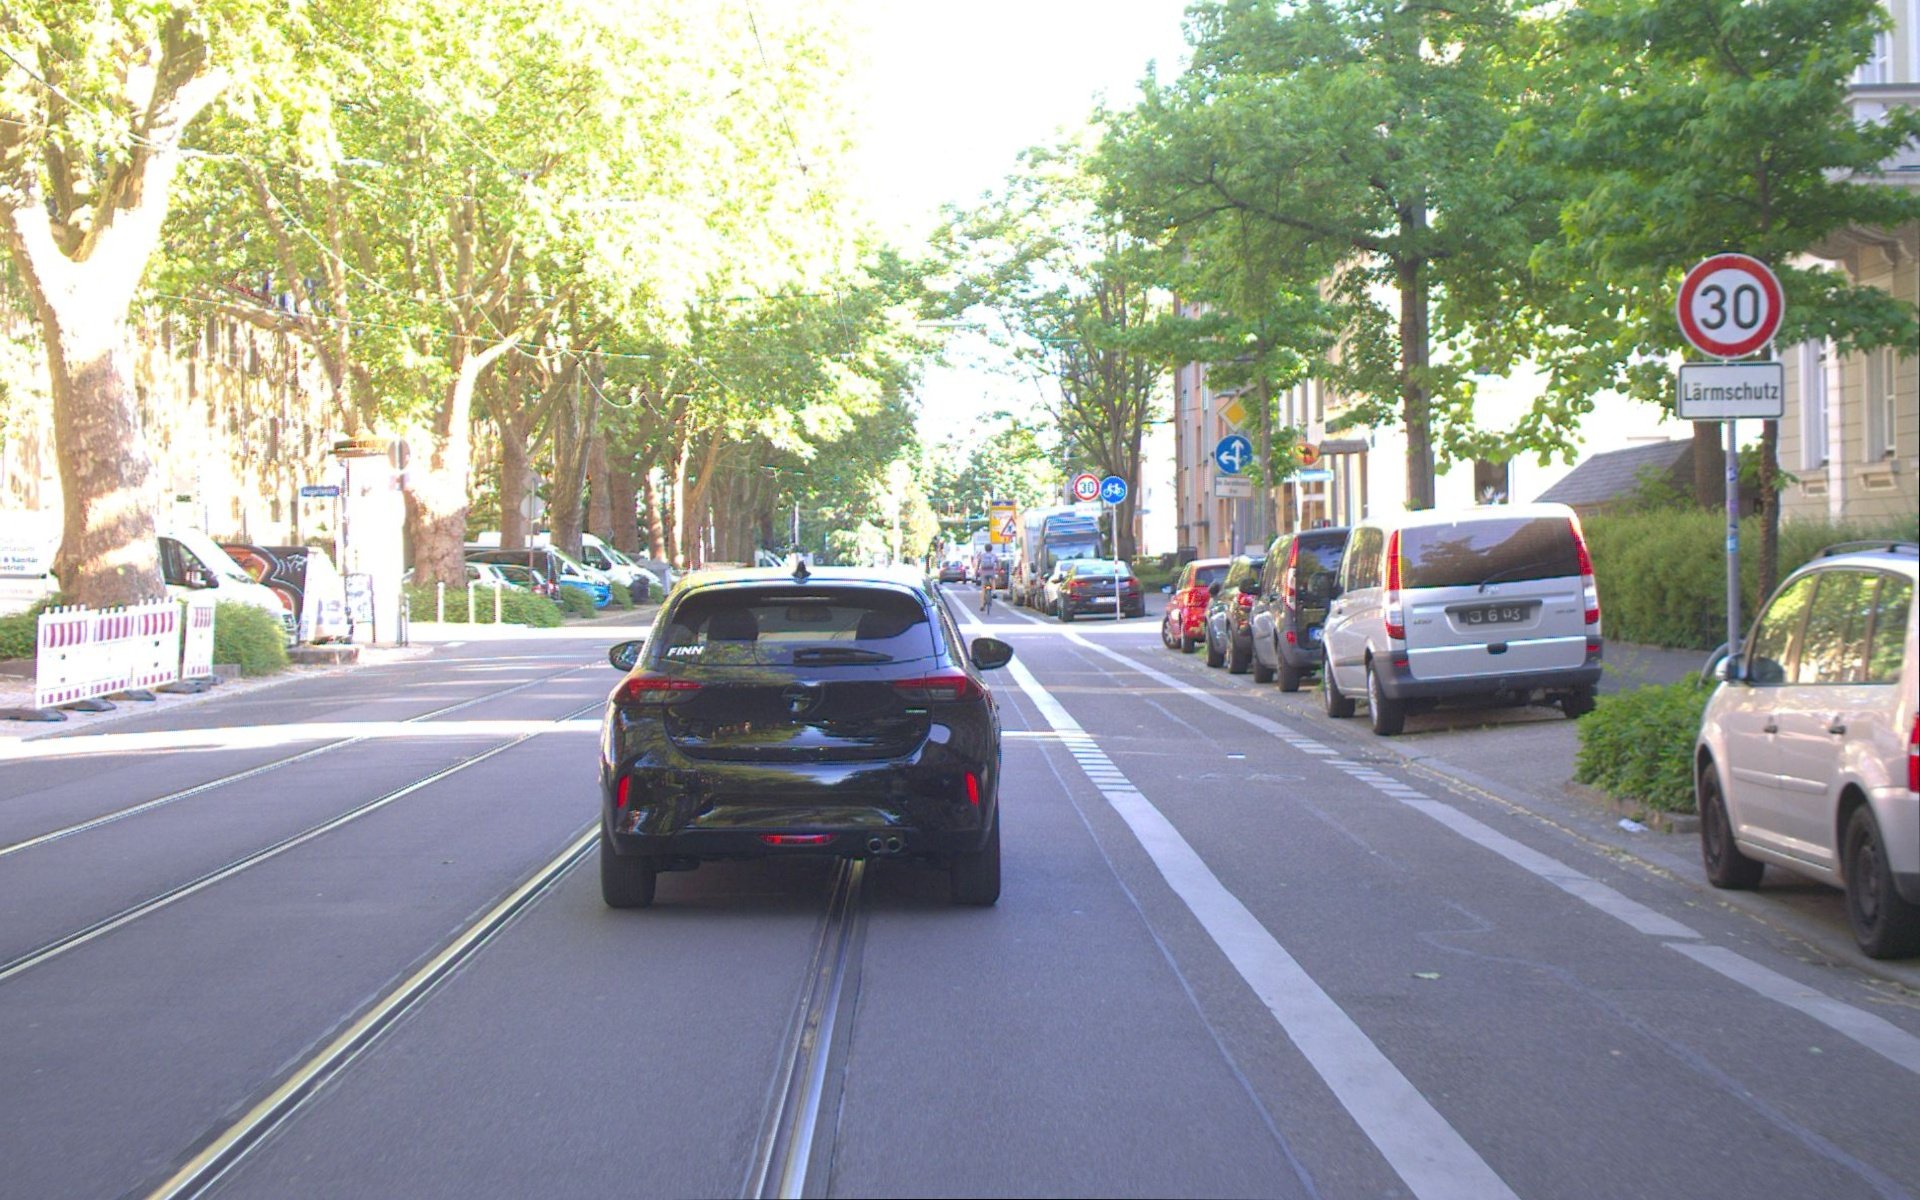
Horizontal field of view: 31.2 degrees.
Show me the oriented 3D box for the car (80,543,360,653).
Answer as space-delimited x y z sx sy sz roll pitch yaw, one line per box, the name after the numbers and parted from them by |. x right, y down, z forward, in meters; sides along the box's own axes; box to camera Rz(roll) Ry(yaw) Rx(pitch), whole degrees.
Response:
-12.261 -0.049 57.171 4.299 1.795 1.926 0 1 -3 | car

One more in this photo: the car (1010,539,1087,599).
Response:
2.834 -1.020 111.474 2.254 1.834 5.531 -2 1 -1 | car

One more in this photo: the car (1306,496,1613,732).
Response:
4.355 0.089 30.741 1.884 1.845 4.967 -3 1 -1 | car

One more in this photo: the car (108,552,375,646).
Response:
-12.459 -0.038 59.806 4.299 1.601 1.926 0 1 -3 | car

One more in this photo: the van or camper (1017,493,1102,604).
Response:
2.991 -1.554 104.269 2.254 3.205 5.531 -2 1 -1 | van or camper

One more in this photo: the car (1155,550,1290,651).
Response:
4.108 -0.014 54.329 1.702 1.418 3.978 -4 1 0 | car

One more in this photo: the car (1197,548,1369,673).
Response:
4.228 0.116 45.525 1.712 1.509 4.037 -3 1 -2 | car

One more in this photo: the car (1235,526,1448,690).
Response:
4.348 0.062 39.829 1.885 1.760 4.678 -1 1 0 | car

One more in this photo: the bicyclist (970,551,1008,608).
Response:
0.770 -0.547 91.378 0.958 1.494 1.094 0 0 -2 | bicyclist

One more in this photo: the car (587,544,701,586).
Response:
-12.519 -1.380 136.148 4.353 1.659 2.001 0 1 -9 | car

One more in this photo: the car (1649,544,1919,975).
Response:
4.428 0.549 14.979 1.884 1.562 4.242 -3 1 -1 | car

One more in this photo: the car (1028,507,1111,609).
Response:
3.082 -1.207 97.707 2.085 2.762 4.698 -2 1 -1 | car

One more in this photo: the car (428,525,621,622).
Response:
-12.261 -0.764 97.092 5.036 2.366 2.081 -4 1 0 | car

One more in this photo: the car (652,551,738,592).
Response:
-13.270 -1.438 172.485 3.988 2.007 2.000 0 1 6 | car

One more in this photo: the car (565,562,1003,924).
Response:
-0.722 0.556 15.848 1.763 1.455 3.950 0 1 0 | car

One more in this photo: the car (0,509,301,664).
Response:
-12.496 -0.213 51.236 5.032 2.251 2.086 0 1 -3 | car

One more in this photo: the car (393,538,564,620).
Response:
-12.648 -0.559 90.397 4.299 1.834 1.783 -4 1 -8 | car

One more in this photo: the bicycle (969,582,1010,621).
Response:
0.771 0.028 91.400 0.968 0.995 2.583 0 1 -2 | bicycle

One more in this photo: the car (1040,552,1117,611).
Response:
3.107 -0.467 90.510 1.803 1.429 4.000 -2 0 -1 | car

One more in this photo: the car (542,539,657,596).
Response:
-12.942 -1.175 123.229 3.986 2.007 2.001 0 1 -9 | car

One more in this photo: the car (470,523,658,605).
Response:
-12.620 -1.145 109.805 5.639 2.584 2.196 0 0 4 | car

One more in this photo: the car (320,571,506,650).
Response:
-13.195 0.251 83.133 4.299 1.588 1.783 -4 1 -8 | car

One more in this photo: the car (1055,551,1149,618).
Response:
3.273 -0.370 80.113 1.884 1.429 4.530 -3 1 -1 | car
